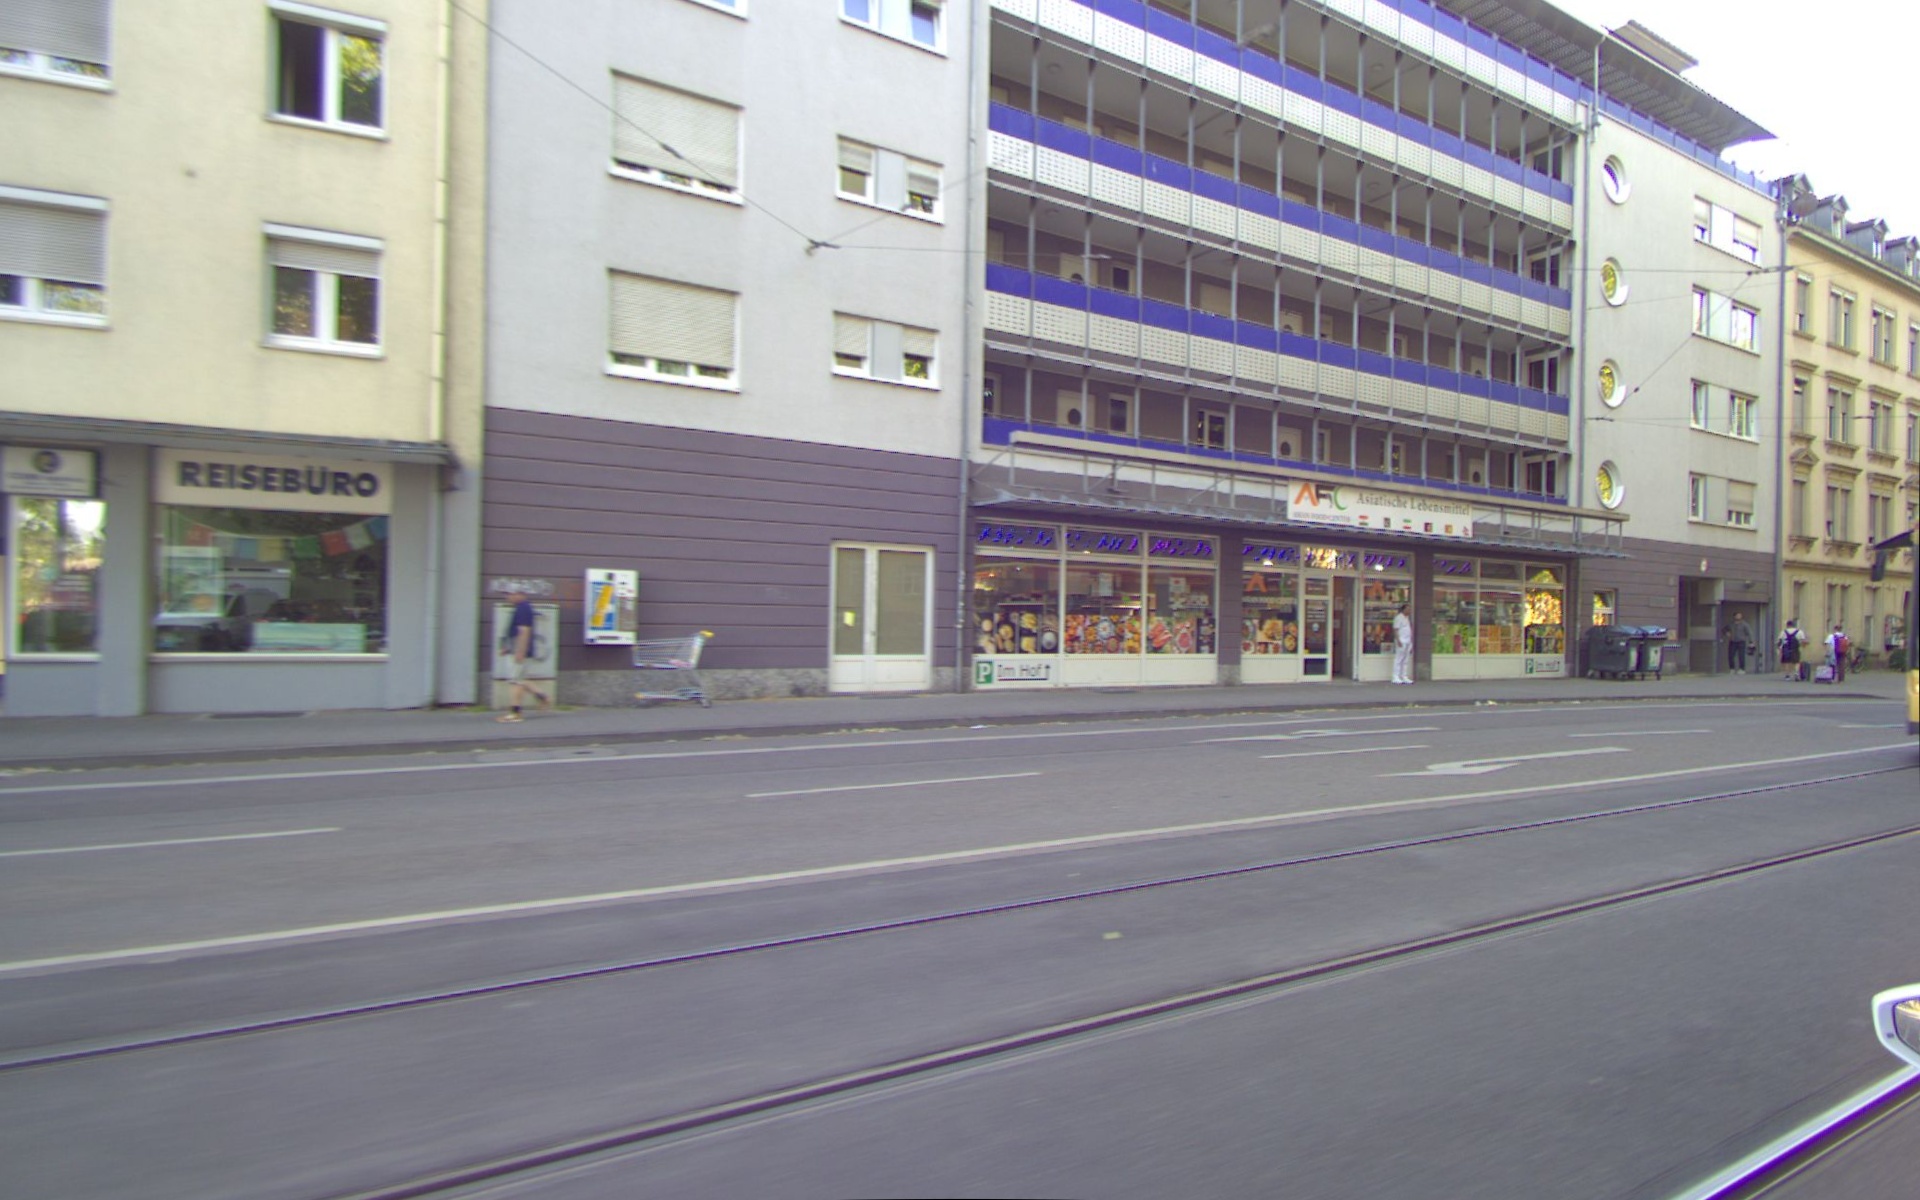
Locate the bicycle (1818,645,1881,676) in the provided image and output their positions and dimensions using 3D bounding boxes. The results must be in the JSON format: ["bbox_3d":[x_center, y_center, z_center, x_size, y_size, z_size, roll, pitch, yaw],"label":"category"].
[{"bbox_3d":[30.046,2.036,33.916,2.105,0.984,0.646,1,0,-20],"label":"bicycle"}]

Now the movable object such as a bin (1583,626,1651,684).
[{"bbox_3d":[17.234,1.428,26.349,1.201,1.470,1.132,1,-1,-34],"label":"movable object such as a bin"}]

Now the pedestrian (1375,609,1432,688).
[{"bbox_3d":[10.063,1.085,22.804,0.810,1.736,0.783,1,2,-30],"label":"pedestrian"}]

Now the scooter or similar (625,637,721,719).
[{"bbox_3d":[-4.039,1.081,14.140,1.149,1.070,0.725,1,1,-31],"label":"scooter or similar"}]

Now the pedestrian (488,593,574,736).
[{"bbox_3d":[-5.395,0.783,12.625,0.893,1.696,0.712,1,3,-29],"label":"pedestrian"}]

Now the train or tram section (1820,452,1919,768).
[{"bbox_3d":[16.690,0.243,14.149,13.214,3.532,2.894,1,-1,-31],"label":"train or tram section"}]

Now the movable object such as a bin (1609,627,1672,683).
[{"bbox_3d":[18.414,1.476,27.187,1.198,1.470,1.050,1,-1,-34],"label":"movable object such as a bin"}]

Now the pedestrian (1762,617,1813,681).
[{"bbox_3d":[24.275,1.427,29.477,0.723,1.808,0.865,1,0,-12],"label":"pedestrian"}]

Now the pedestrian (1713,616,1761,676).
[{"bbox_3d":[24.771,1.447,32.041,0.720,1.838,0.958,1,1,-29],"label":"pedestrian"}]

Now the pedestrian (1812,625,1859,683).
[{"bbox_3d":[25.451,1.561,29.221,0.674,1.654,0.728,2,1,-6],"label":"pedestrian"}]
